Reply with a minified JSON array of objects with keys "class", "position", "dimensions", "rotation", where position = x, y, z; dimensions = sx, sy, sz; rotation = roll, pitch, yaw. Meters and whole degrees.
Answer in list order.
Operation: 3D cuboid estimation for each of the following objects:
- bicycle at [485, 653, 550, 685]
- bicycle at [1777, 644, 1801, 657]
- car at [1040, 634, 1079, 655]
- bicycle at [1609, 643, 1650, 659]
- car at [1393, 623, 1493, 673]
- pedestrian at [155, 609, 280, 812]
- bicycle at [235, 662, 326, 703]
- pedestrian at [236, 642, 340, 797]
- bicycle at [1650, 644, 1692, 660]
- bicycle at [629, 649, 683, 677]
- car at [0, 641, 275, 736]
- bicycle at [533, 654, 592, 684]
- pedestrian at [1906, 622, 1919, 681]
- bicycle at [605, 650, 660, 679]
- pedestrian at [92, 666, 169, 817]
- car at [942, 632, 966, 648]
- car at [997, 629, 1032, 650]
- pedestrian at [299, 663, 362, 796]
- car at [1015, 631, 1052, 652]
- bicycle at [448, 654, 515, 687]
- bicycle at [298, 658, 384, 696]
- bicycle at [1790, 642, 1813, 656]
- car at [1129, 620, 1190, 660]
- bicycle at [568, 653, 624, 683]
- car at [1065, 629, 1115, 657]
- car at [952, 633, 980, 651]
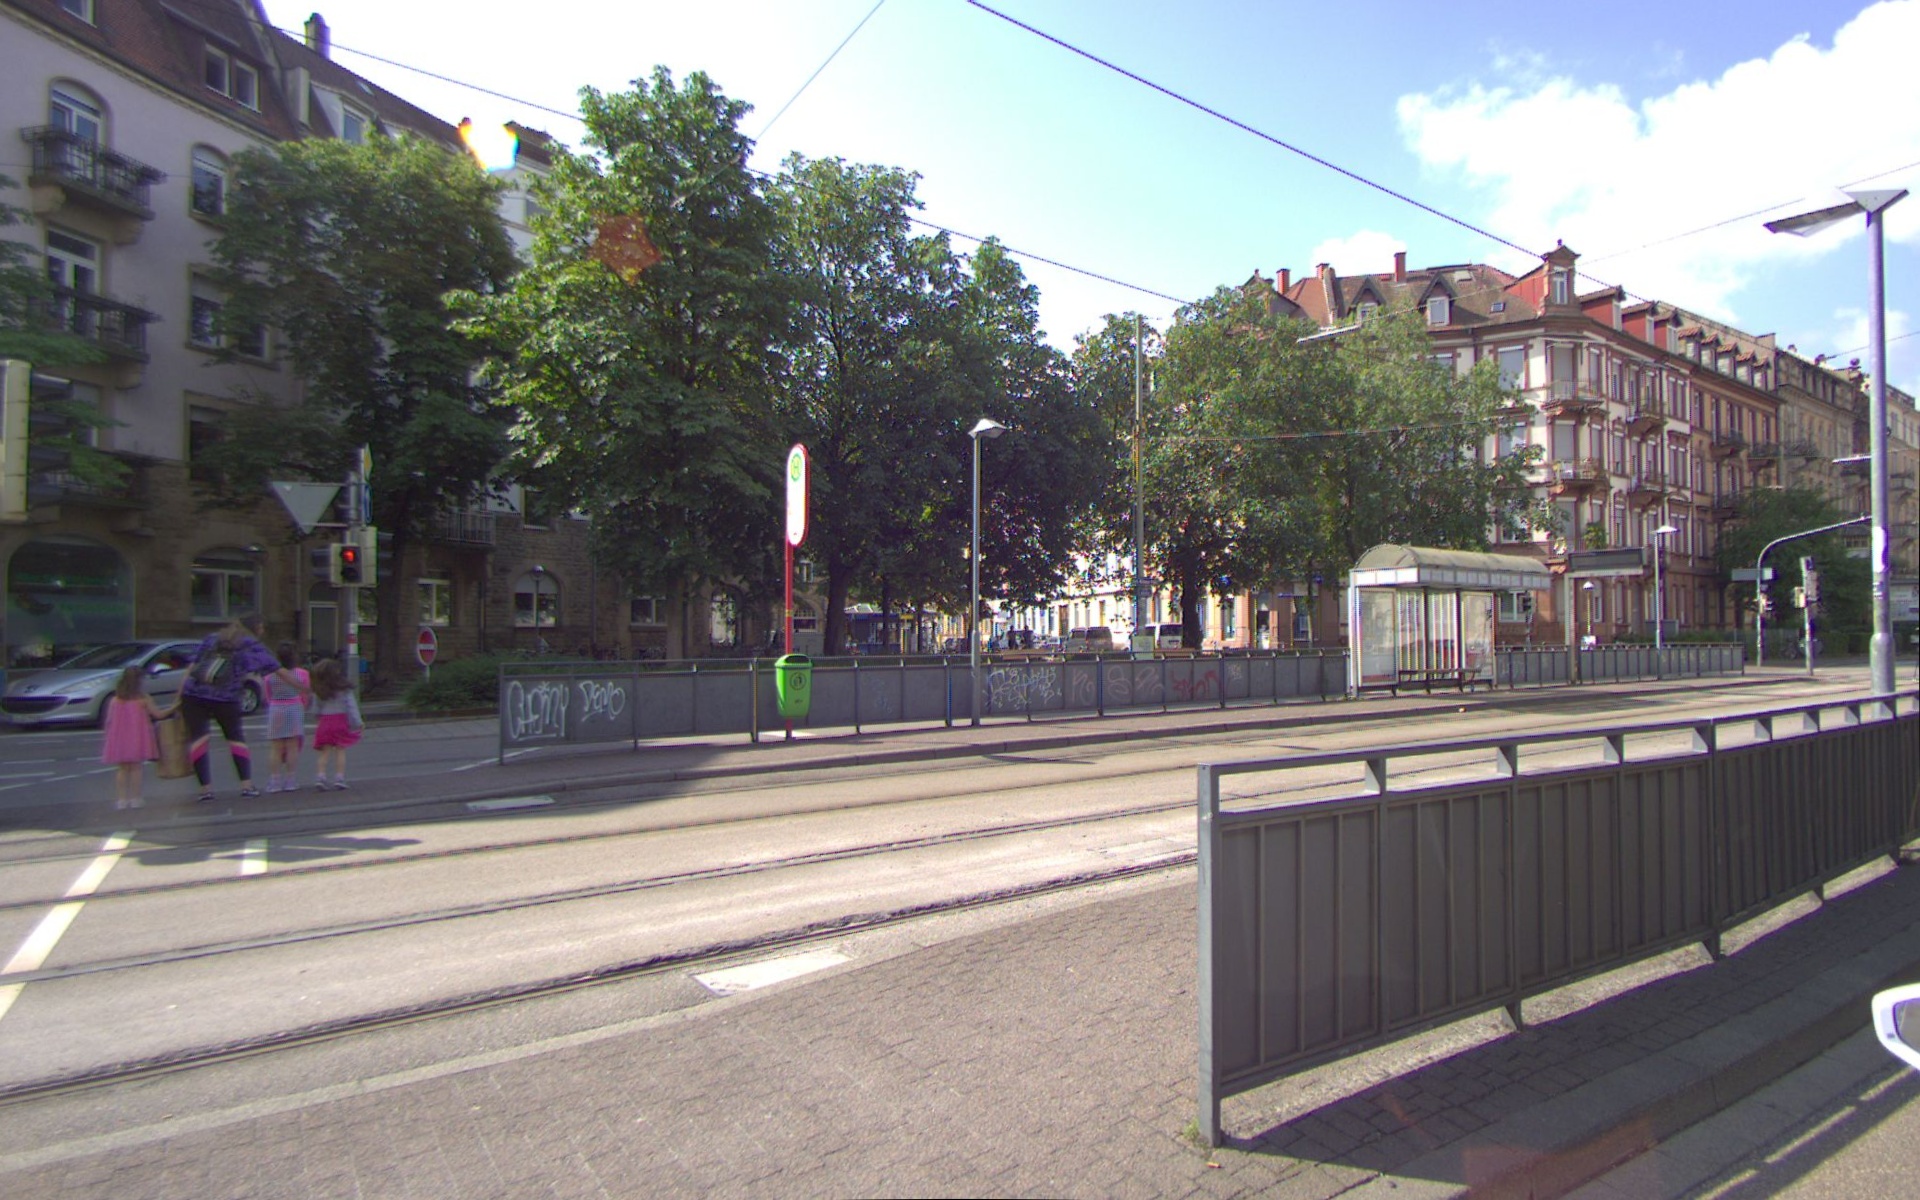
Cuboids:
[{"class":"bicycle","position":[-13.631,2.119,30.932],"dimensions":[1.992,0.910,0.572],"rotation":[0,-2,22]},{"class":"bicycle","position":[41.426,2.522,50.213],"dimensions":[1.691,0.662,0.383],"rotation":[1,-2,-31]},{"class":"car","position":[6.764,3.010,68.649],"dimensions":[1.469,1.411,3.685],"rotation":[0,-2,-14]},{"class":"bicycle","position":[31.485,2.399,47.253],"dimensions":[1.677,0.757,0.386],"rotation":[0,-2,1]},{"class":"car","position":[18.226,1.792,37.880],"dimensions":[3.960,1.800,1.669],"rotation":[1,-2,-35]},{"class":"pedestrian","position":[-6.229,0.886,8.428],"dimensions":[0.793,1.586,0.722],"rotation":[1,-2,-40]},{"class":"bicycle","position":[-16.048,1.930,23.726],"dimensions":[1.990,0.894,0.512],"rotation":[1,-2,11]},{"class":"pedestrian","position":[-6.149,1.060,9.186],"dimensions":[0.711,1.320,0.819],"rotation":[1,-4,-40]},{"class":"bicycle","position":[33.449,2.439,47.245],"dimensions":[1.677,0.757,0.386],"rotation":[0,-2,1]},{"class":"bicycle","position":[-10.769,2.215,35.536],"dimensions":[1.994,0.910,0.571],"rotation":[0,-2,28]},{"class":"car","position":[-14.356,1.461,17.604],"dimensions":[1.686,1.439,3.876],"rotation":[-1,-2,8]},{"class":"bicycle","position":[-12.887,2.219,32.550],"dimensions":[1.993,0.910,0.572],"rotation":[0,-2,25]},{"class":"pedestrian","position":[27.851,1.483,28.916],"dimensions":[0.661,1.697,0.765],"rotation":[1,-2,-36]},{"class":"bicycle","position":[-11.390,2.232,34.877],"dimensions":[1.994,0.910,0.571],"rotation":[0,-2,28]},{"class":"pedestrian","position":[-6.642,1.102,8.055],"dimensions":[0.440,1.128,0.636],"rotation":[1,-2,-39]},{"class":"car","position":[-0.638,3.961,99.807],"dimensions":[1.685,1.524,3.677],"rotation":[0,-2,-13]},{"class":"car","position":[4.246,3.100,78.622],"dimensions":[1.688,1.575,3.911],"rotation":[0,-2,-13]},{"class":"pedestrian","position":[-5.574,1.132,8.897],"dimensions":[0.420,1.122,0.434],"rotation":[1,-4,-40]},{"class":"car","position":[5.377,3.041,73.934],"dimensions":[1.603,1.513,3.637],"rotation":[0,-2,-14]},{"class":"bicycle","position":[-14.197,2.091,29.804],"dimensions":[1.991,0.910,0.546],"rotation":[0,-2,21]},{"class":"bicycle","position":[-15.649,1.942,25.398],"dimensions":[1.990,0.894,0.547],"rotation":[1,-2,11]},{"class":"bicycle","position":[43.165,2.514,51.540],"dimensions":[1.691,0.686,0.383],"rotation":[1,-2,-31]},{"class":"car","position":[10.600,2.119,53.661],"dimensions":[1.824,2.015,3.940],"rotation":[0,-2,-11]},{"class":"bicycle","position":[-12.247,2.274,33.747],"dimensions":[1.994,0.910,0.571],"rotation":[0,-2,28]},{"class":"car","position":[8.150,2.686,63.215],"dimensions":[1.883,1.685,3.932],"rotation":[0,-2,-12]},{"class":"car","position":[0.540,3.933,94.476],"dimensions":[1.864,1.694,3.780],"rotation":[0,-2,-13]}]
